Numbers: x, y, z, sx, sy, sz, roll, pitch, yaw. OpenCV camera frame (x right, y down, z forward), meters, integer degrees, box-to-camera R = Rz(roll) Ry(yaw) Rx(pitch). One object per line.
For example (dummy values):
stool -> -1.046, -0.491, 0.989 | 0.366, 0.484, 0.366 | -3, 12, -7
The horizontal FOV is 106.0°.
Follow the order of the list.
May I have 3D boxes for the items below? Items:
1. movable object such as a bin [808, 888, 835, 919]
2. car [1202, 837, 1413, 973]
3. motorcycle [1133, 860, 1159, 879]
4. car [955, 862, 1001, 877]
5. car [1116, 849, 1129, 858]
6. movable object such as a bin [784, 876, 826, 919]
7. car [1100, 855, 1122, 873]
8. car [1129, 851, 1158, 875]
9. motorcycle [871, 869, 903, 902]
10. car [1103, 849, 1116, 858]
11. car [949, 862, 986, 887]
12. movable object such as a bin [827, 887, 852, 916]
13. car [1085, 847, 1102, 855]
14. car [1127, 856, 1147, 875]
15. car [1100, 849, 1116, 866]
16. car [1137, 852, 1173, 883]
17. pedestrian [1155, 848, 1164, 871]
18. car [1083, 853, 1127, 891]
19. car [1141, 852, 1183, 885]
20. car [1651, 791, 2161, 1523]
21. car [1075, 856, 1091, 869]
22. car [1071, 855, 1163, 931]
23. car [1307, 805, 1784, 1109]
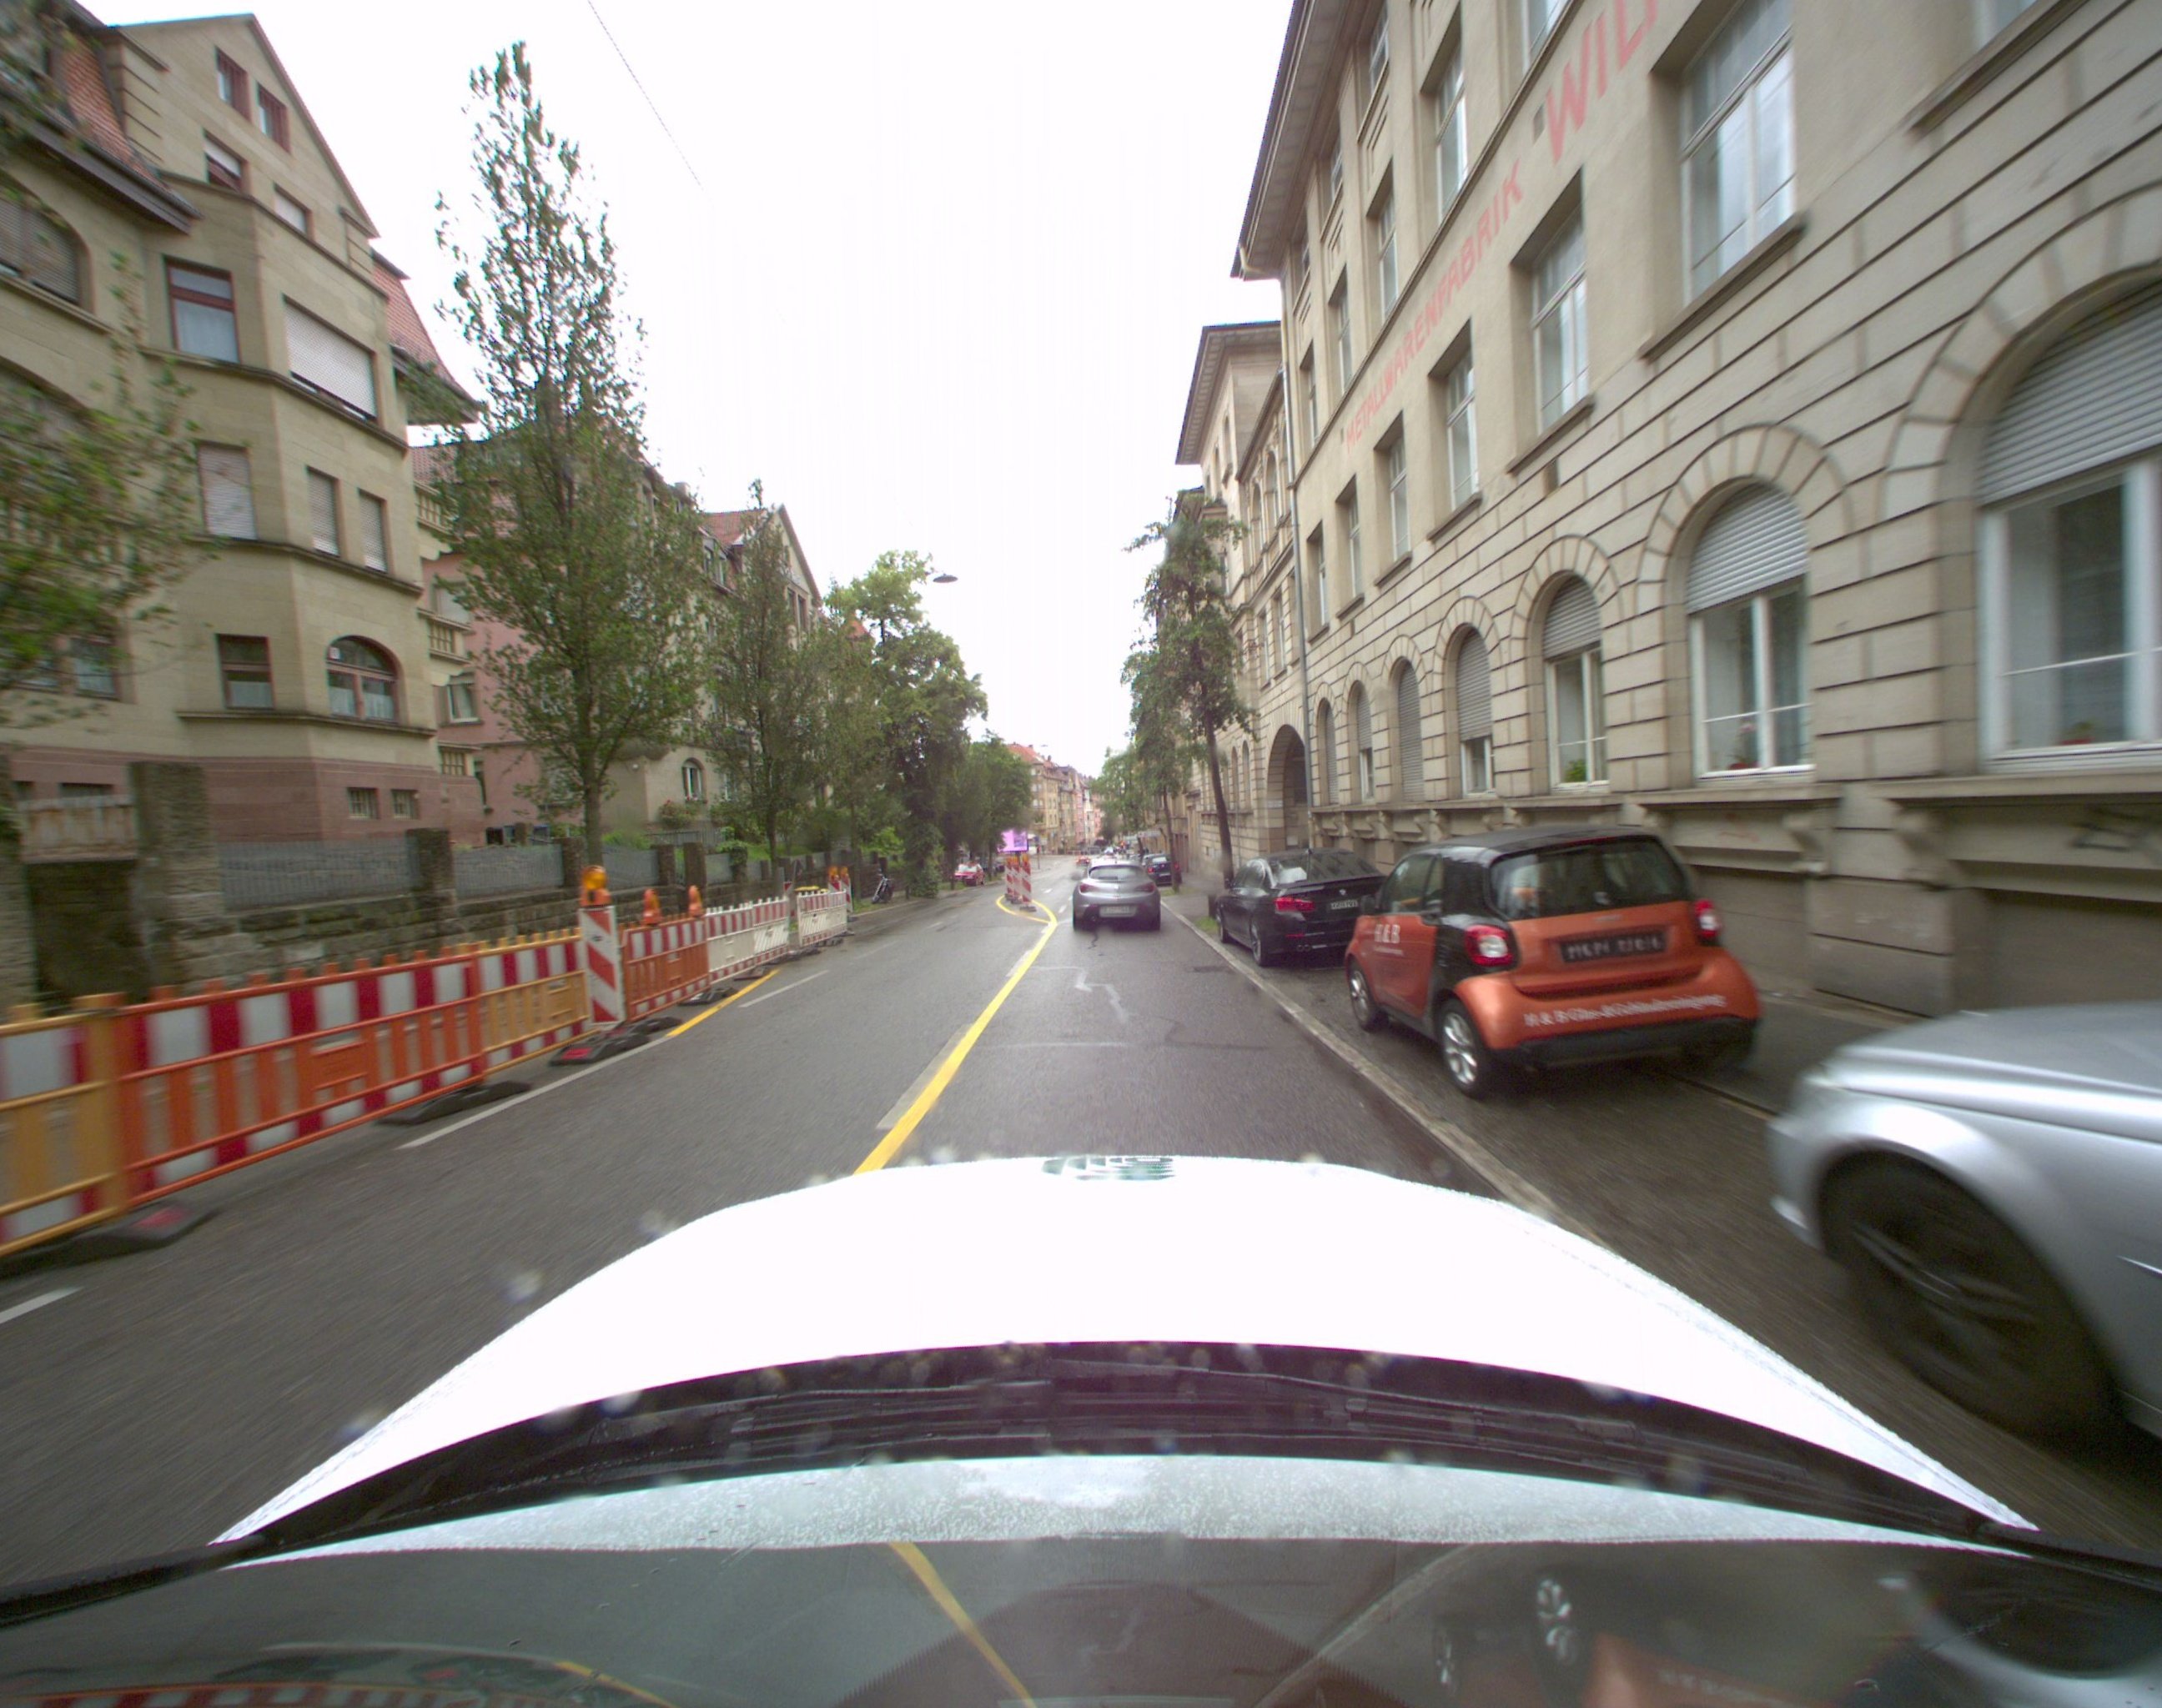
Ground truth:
movable object such as a bin -> -8.063, 1.532, 25.352 | 0.601, 0.908, 0.624 | -1, 0, 3
car -> 3.060, 0.610, 12.083 | 1.752, 1.461, 4.724 | -5, 0, 1
motorcycle -> 4.174, 0.985, 52.283 | 0.649, 1.235, 1.994 | -2, -1, 40
car -> -10.292, 1.503, 81.681 | 4.321, 1.243, 1.633 | -3, 0, -18
car -> 8.145, -0.157, 160.064 | 1.980, 1.684, 4.013 | 0, -1, 12
movable object such as a bin -> -8.261, 1.293, 24.405 | 0.941, 1.214, 0.857 | -1, 0, 2
car -> 2.852, 0.924, 77.852 | 1.653, 1.543, 3.661 | -4, 0, -3
car -> 4.473, 0.630, 58.667 | 1.632, 1.602, 3.856 | -3, 0, -1
motorcycle -> -8.225, 1.313, 34.613 | 0.762, 1.346, 2.204 | -1, -1, 2
car -> 5.723, -0.083, 164.378 | 1.980, 1.684, 4.013 | 0, -1, 12
car -> -7.334, 1.294, 52.951 | 1.631, 1.439, 4.081 | -3, 0, 2
movable object such as a bin -> -7.948, 1.566, 26.775 | 0.601, 0.908, 0.624 | -1, 0, 3
car -> 2.838, -0.644, 187.483 | 3.972, 1.750, 2.000 | 0, -1, 1
car -> 5.041, 0.993, 73.423 | 1.631, 1.524, 3.859 | -3, 0, 2
car -> 2.989, 0.356, 89.826 | 1.650, 1.782, 3.667 | -2, 0, 2
car -> 3.933, 0.688, 43.652 | 1.631, 1.469, 3.859 | -3, 0, 2
pedestrian -> 6.527, 0.442, 67.568 | 0.713, 1.870, 0.636 | -1, -1, 1
car -> 1.013, 0.747, 35.950 | 1.766, 1.504, 3.868 | -1, 0, 0
car -> 3.809, 0.645, 38.720 | 1.631, 1.429, 3.377 | -3, 0, 1
car -> 2.966, 0.571, 0.773 | 1.689, 1.431, 4.422 | -5, 0, 1
car -> 0.282, 1.072, 105.298 | 1.986, 1.500, 4.002 | -2, 0, 2
car -> 0.754, 0.782, 18.222 | 1.805, 1.449, 3.869 | -1, 0, 1
car -> 2.984, 0.562, 6.046 | 1.633, 1.520, 3.183 | -5, 0, 0
